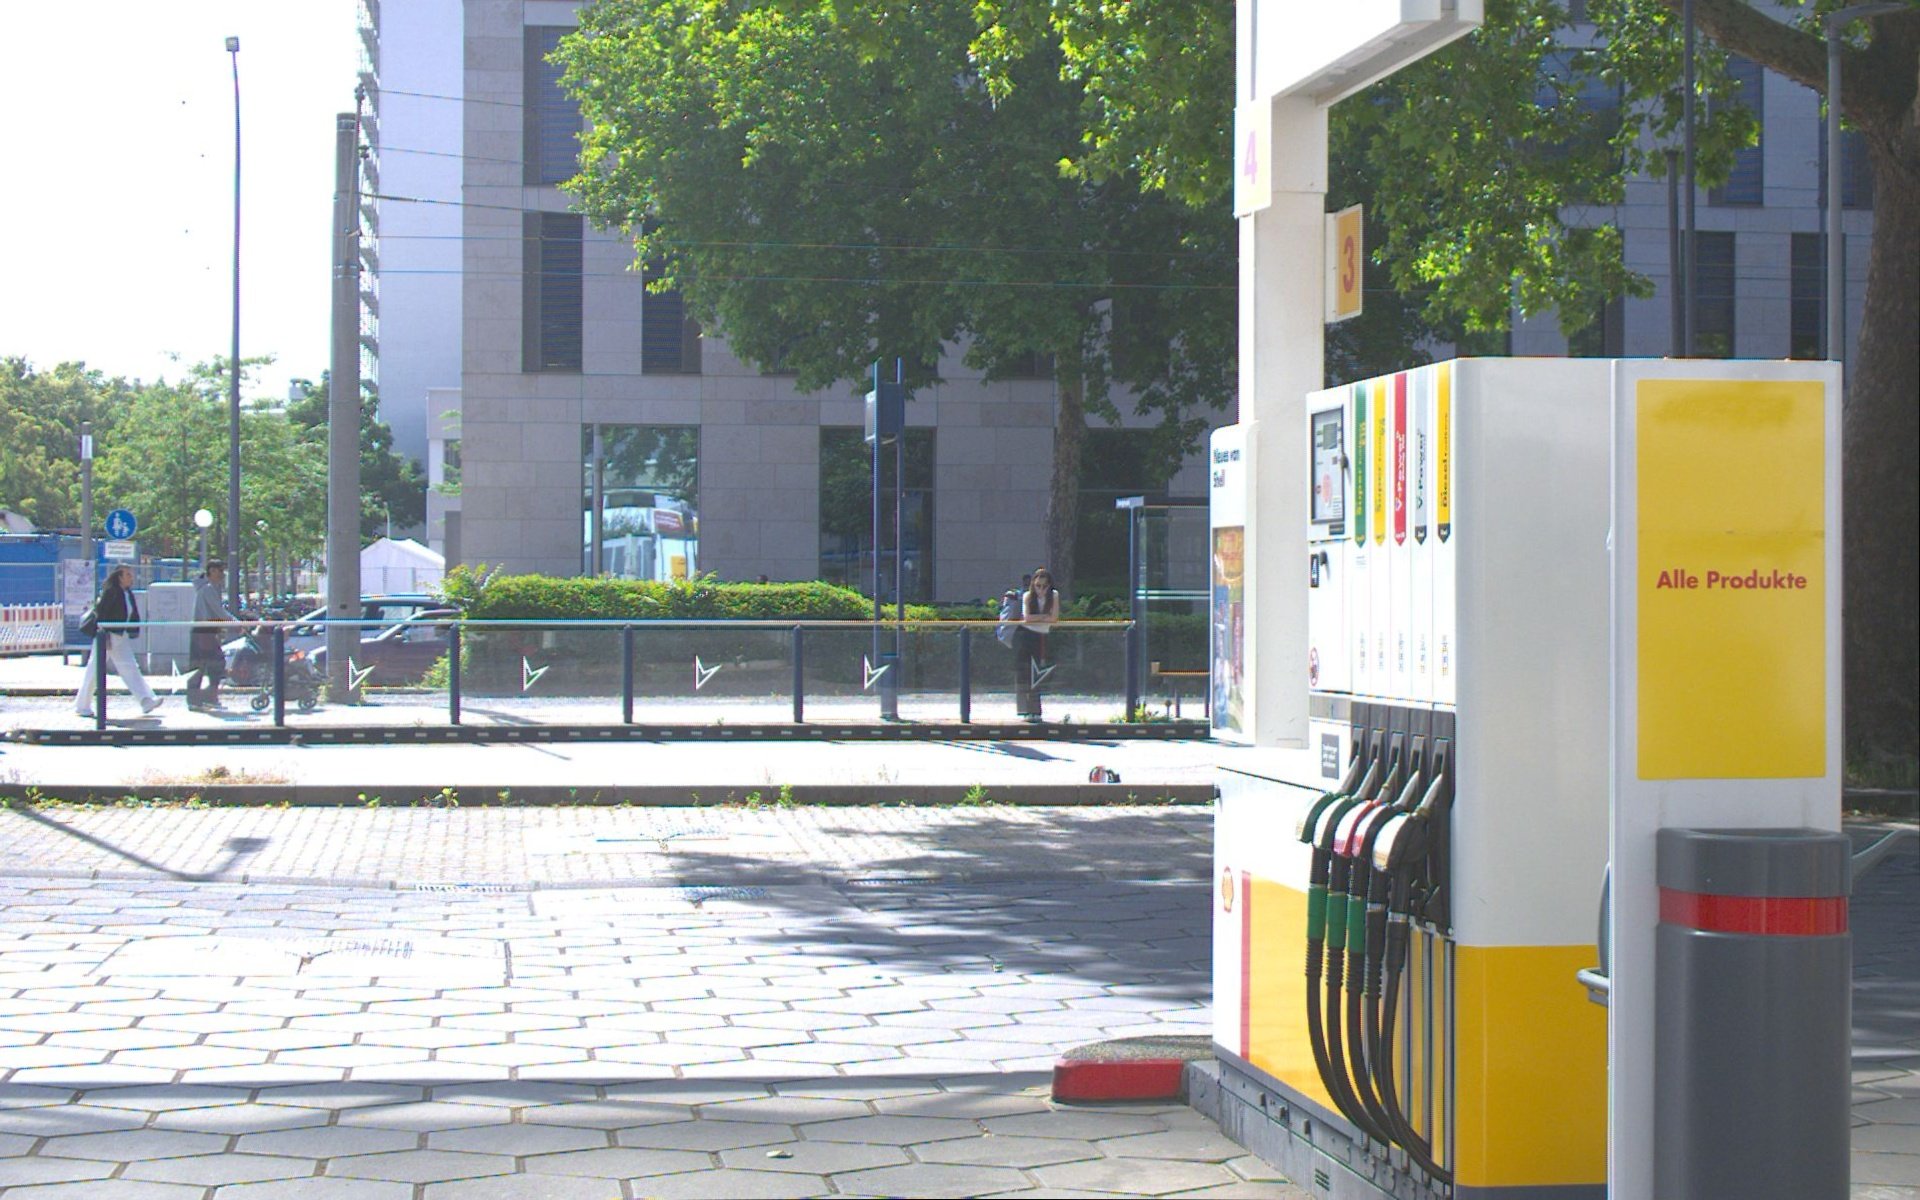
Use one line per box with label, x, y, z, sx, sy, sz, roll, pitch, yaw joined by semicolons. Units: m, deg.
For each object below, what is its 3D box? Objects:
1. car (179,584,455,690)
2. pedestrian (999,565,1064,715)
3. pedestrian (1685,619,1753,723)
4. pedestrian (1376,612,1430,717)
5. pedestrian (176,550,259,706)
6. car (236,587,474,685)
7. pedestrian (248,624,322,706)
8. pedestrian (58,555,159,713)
car;-9.636;0.544;51.461;3.986;1.547;1.704;0;0;-13
pedestrian;0.764;0.424;36.882;0.584;1.586;0.670;0;2;-8
pedestrian;8.419;0.784;38.136;0.628;1.134;0.524;0;0;-1
pedestrian;4.839;0.701;37.581;0.499;1.134;0.524;0;0;-1
pedestrian;-8.084;0.303;37.449;0.777;1.677;0.503;0;0;1
car;-9.765;0.573;55.412;3.681;1.547;1.592;0;0;-13
pedestrian;-7.346;0.701;37.426;0.690;0.877;0.503;0;0;1
pedestrian;-9.094;0.361;36.730;0.932;1.677;0.503;0;0;1
